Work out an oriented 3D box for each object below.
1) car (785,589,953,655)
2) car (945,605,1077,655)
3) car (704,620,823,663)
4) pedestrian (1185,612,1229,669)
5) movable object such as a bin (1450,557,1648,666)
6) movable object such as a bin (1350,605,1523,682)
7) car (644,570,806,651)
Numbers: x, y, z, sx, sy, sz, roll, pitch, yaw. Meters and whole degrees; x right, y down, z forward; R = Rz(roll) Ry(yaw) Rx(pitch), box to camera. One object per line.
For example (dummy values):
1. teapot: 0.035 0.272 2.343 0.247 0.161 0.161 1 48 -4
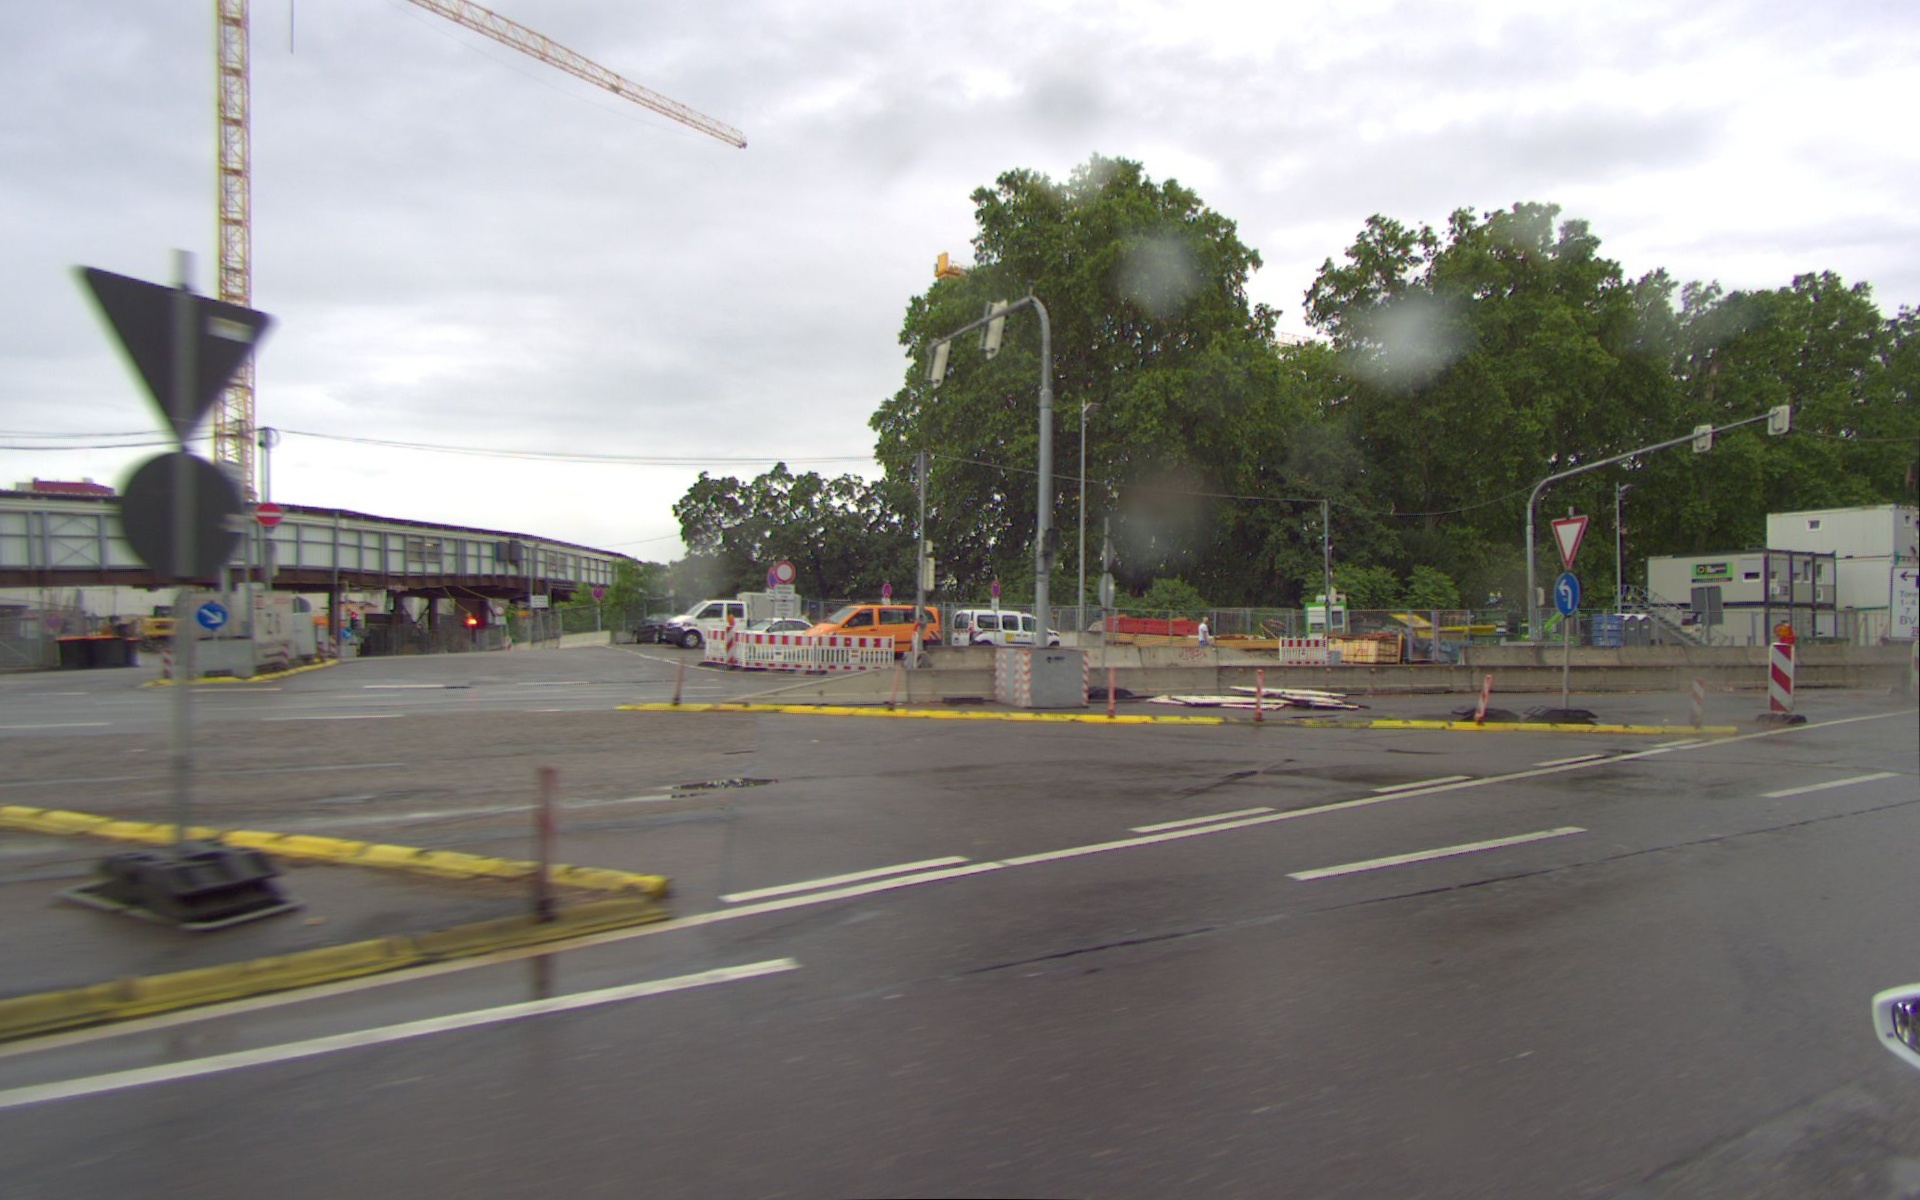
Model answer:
1. car: -3.121 0.805 34.981 5.519 2.128 1.984 1 -4 -31
2. car: 1.936 1.146 37.945 4.738 1.784 1.838 1 -2 -28
3. car: -6.955 1.475 35.714 3.802 1.433 1.743 2 -3 -40
4. pedestrian: 9.058 1.484 36.890 1.153 2.040 1.181 1 0 -12
5. movable object such as a bin: 28.719 0.673 49.023 8.254 4.866 4.732 1 -2 -28
6. movable object such as a bin: 21.048 1.916 44.423 6.308 3.169 3.917 1 -2 -28
7. car: -9.609 0.494 41.271 6.095 3.106 2.264 1 -2 -29
